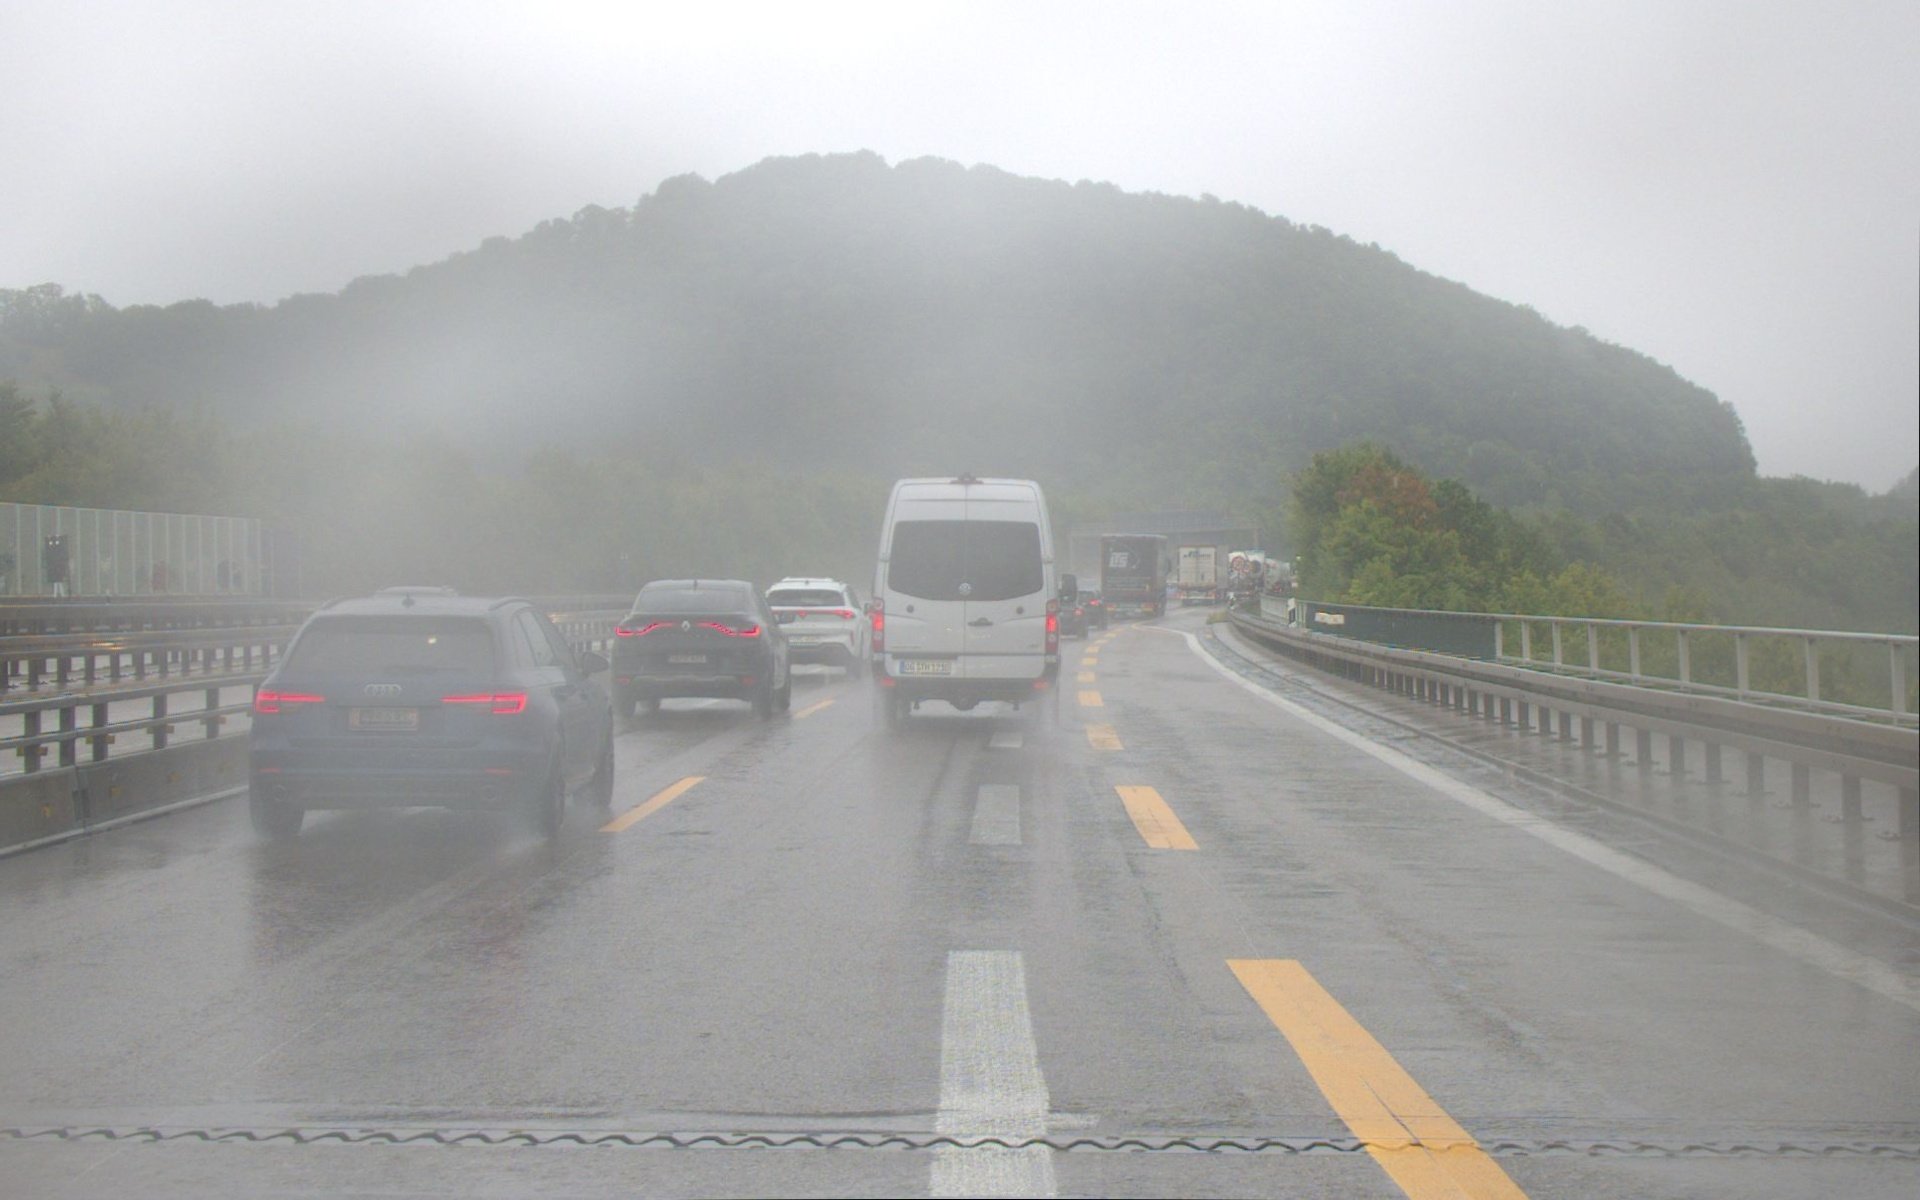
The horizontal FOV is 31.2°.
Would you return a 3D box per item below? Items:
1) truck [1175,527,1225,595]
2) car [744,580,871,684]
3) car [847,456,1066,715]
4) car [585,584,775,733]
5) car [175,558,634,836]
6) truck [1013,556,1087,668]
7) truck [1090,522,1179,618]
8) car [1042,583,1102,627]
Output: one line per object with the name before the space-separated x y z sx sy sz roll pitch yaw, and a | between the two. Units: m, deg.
truck | 16.311 -2.570 233.068 3.037 4.391 9.621 2 0 6
car | -2.580 0.509 57.411 1.993 1.612 4.797 2 0 -3
car | -0.021 -0.146 37.485 2.145 2.562 5.389 2 0 0
car | -3.172 0.641 39.745 1.993 1.579 4.414 2 0 -3
car | -3.313 0.544 21.452 1.993 1.492 4.630 1 0 1
truck | 2.646 0.351 100.819 1.993 3.098 8.498 2 0 2
truck | 8.379 -1.369 164.015 3.582 4.391 9.621 2 0 6
car | 3.913 0.177 119.775 1.774 1.470 3.999 2 0 6
